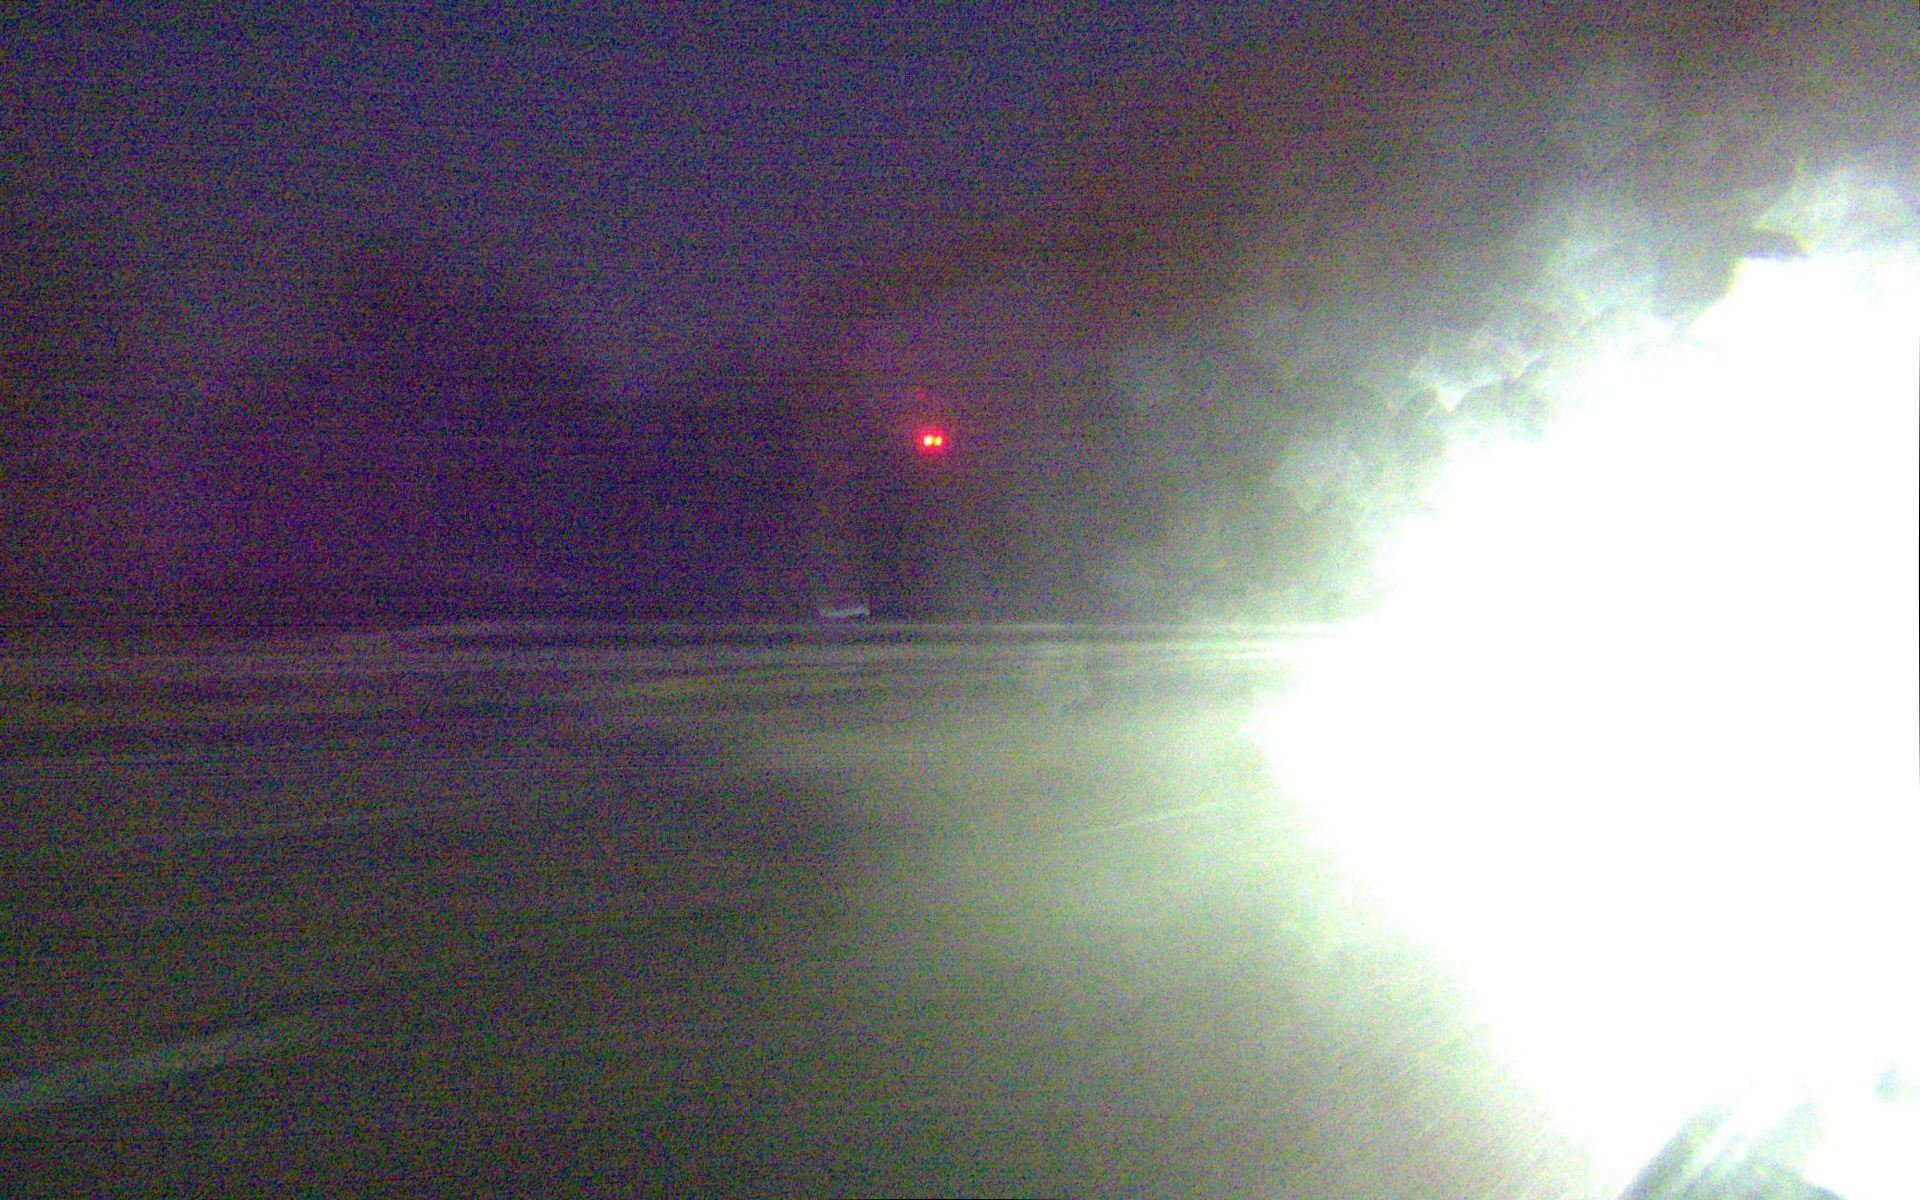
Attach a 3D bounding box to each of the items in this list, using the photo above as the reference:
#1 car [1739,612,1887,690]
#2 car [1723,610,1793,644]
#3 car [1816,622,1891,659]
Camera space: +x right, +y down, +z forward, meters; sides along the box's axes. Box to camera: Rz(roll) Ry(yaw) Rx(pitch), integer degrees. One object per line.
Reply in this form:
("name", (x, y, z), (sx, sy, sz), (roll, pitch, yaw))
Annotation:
("car", (19.313, 1.080, 22.828), (4.931, 1.538, 2.059), (2, -1, -44))
("car", (38.653, 1.321, 49.013), (3.968, 1.516, 1.724), (2, -2, -37))
("car", (37.454, 1.709, 42.386), (4.262, 1.468, 1.995), (4, -3, -44))
